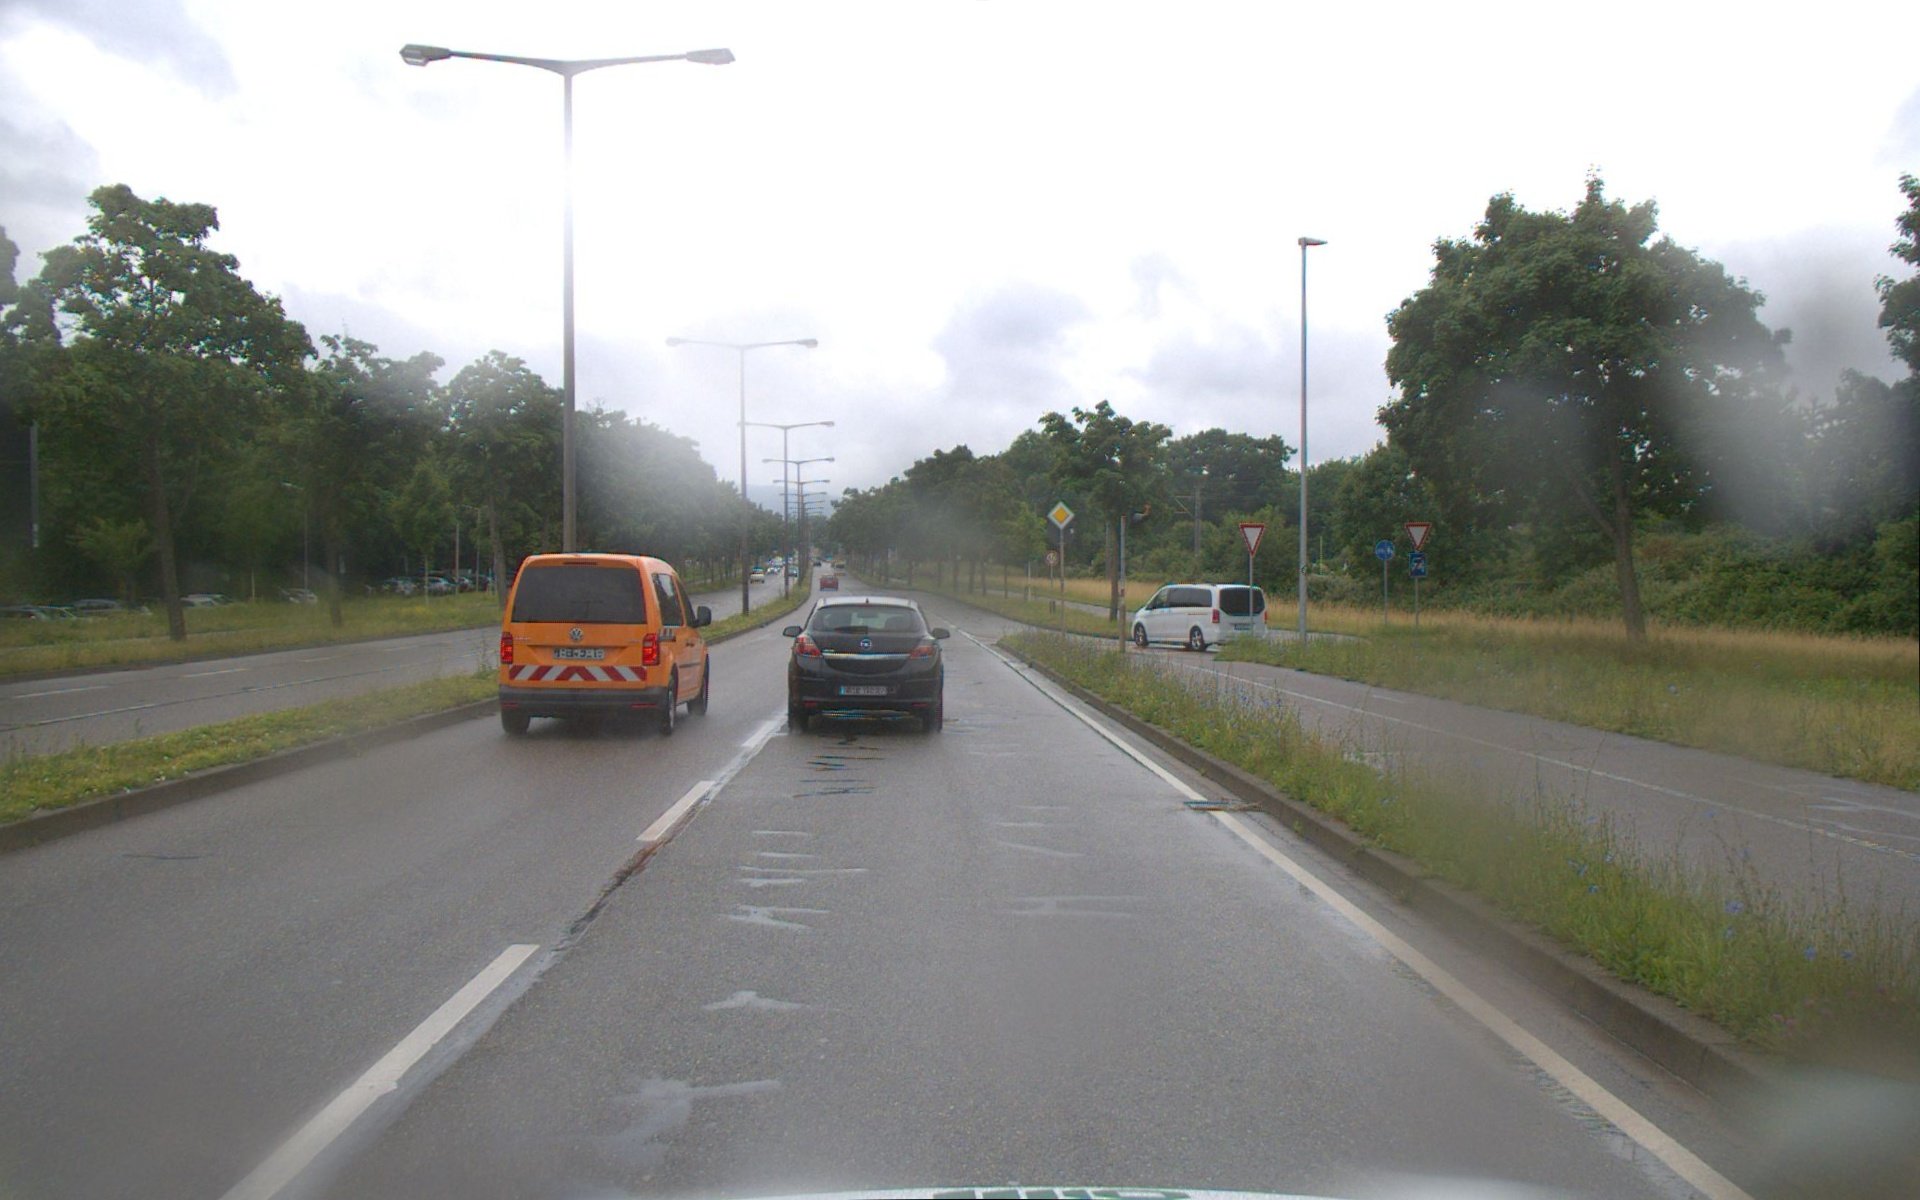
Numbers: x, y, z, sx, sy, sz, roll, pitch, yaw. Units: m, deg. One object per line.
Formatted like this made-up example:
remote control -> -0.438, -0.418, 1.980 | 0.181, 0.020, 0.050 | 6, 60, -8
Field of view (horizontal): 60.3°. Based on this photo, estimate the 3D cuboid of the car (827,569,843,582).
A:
car -> -19.493, -3.802, 258.671 | 2.467, 2.088, 5.288 | 0, 0, -4

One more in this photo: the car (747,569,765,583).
car -> -23.528, -2.745, 190.963 | 1.649, 1.581, 3.999 | 1, 0, -2

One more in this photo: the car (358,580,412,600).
car -> -45.628, -0.790, 131.327 | 3.764, 1.477, 1.522 | 0, 1, -9

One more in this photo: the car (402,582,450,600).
car -> -46.562, -0.804, 144.181 | 3.764, 1.477, 1.522 | 0, 1, -9

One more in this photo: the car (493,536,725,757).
car -> -3.688, 0.423, 18.182 | 1.700, 2.054, 4.846 | 2, 0, -3

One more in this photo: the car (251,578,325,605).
car -> -42.151, -0.531, 103.764 | 3.913, 1.668, 1.908 | 0, 1, -9

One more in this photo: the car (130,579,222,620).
car -> -40.991, -0.032, 86.563 | 3.913, 2.048, 1.996 | 0, 1, -9

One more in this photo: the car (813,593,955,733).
car -> -0.814, 0.639, 18.774 | 1.433, 1.352, 3.757 | 1, 1, -1

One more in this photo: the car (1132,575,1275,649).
car -> 6.929, 0.302, 47.568 | 2.031, 2.009, 4.577 | 1, 0, -22

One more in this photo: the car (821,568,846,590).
car -> -11.420, -1.895, 149.126 | 1.953, 1.912, 3.999 | 1, 0, -1

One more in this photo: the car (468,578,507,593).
car -> -48.226, -1.457, 168.757 | 3.777, 1.477, 1.516 | -1, 1, -19

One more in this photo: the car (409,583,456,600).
car -> -46.805, -0.794, 146.776 | 3.764, 1.477, 1.522 | 0, 1, -9

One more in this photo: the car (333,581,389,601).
car -> -44.800, -0.703, 123.736 | 3.664, 1.451, 1.485 | 0, 1, -9

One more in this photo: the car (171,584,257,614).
car -> -41.242, -0.059, 91.506 | 3.913, 1.646, 1.996 | 0, 1, -9
